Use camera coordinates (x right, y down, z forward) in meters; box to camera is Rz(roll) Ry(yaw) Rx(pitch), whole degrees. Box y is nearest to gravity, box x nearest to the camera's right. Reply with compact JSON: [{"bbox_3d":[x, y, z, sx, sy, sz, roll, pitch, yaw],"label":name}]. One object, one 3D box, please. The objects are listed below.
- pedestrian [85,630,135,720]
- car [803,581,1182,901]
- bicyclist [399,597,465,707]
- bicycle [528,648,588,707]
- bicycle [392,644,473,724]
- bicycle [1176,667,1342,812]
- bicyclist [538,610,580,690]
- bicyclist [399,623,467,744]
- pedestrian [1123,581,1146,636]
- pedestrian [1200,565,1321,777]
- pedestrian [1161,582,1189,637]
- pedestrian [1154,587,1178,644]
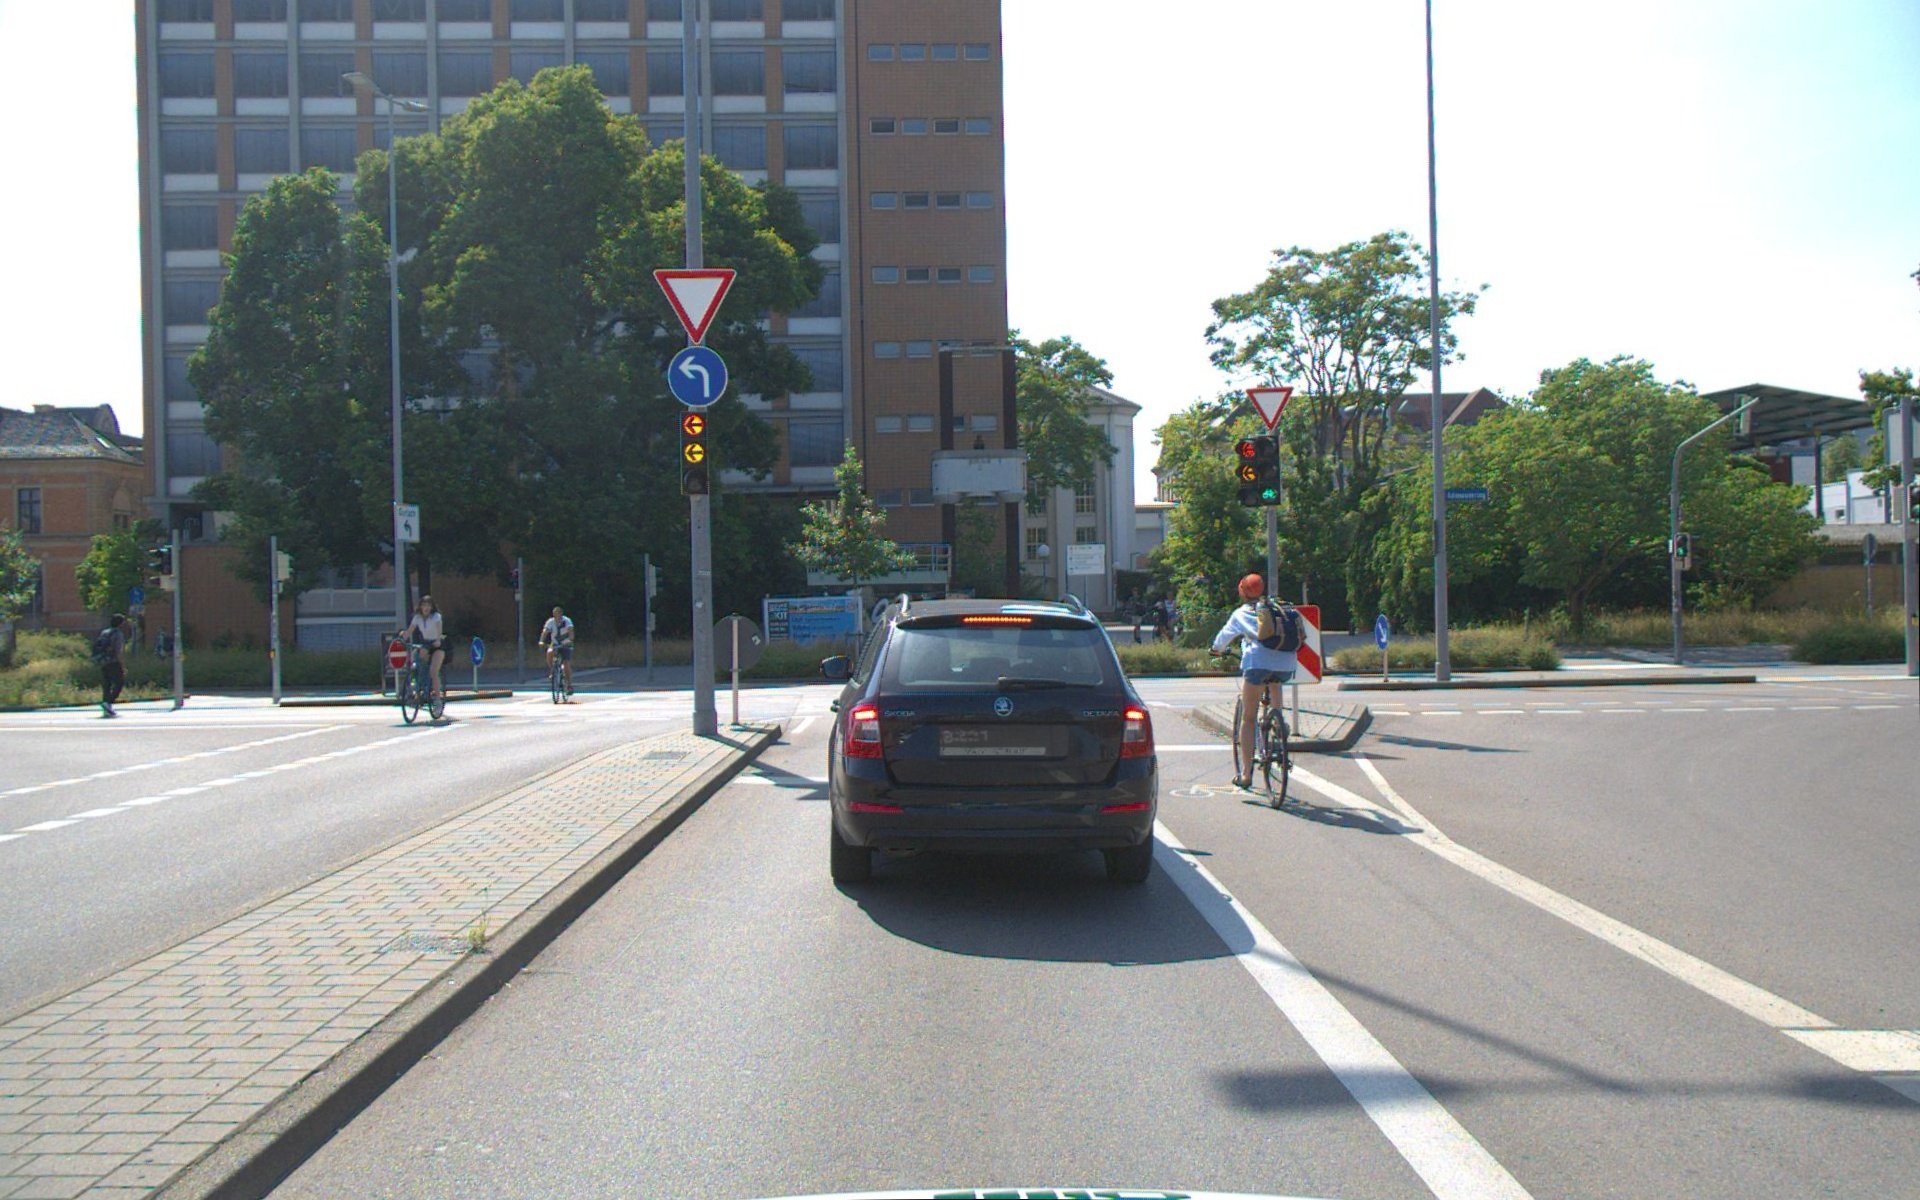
[{"bbox_3d":[-14.787,1.287,28.785,0.621,1.518,0.614,-2,0,-17],"label":"pedestrian"},{"bbox_3d":[0.141,0.654,9.543,1.743,1.468,3.817,0,0,0],"label":"car"},{"bbox_3d":[-7.369,0.713,23.095,0.606,1.468,0.919,-4,0,-6],"label":"bicyclist"},{"bbox_3d":[-7.546,1.434,31.119,0.690,0.994,2.029,-2,0,-3],"label":"bicycle"},{"bbox_3d":[-7.341,1.144,23.093,0.606,0.977,1.965,-4,0,-6],"label":"bicycle"},{"bbox_3d":[2.183,0.997,12.355,0.585,0.948,2.024,0,-1,-9],"label":"bicycle"},{"bbox_3d":[-7.517,0.934,31.058,0.528,1.441,1.029,-2,-1,-3],"label":"bicyclist"},{"bbox_3d":[-7.341,1.144,23.093,0.606,1.609,1.012,-4,0,-6],"label":"bicyclist"},{"bbox_3d":[6.159,0.301,58.383,0.584,1.907,0.639,-2,0,22],"label":"pedestrian"},{"bbox_3d":[2.202,0.504,12.208,0.572,1.492,1.011,0,-1,-9],"label":"pedestrian"},{"bbox_3d":[7.756,0.342,59.689,0.778,1.907,0.638,-3,0,24],"label":"pedestrian"},{"bbox_3d":[7.109,0.526,57.058,0.624,1.907,0.796,-3,0,-1],"label":"pedestrian"}]
